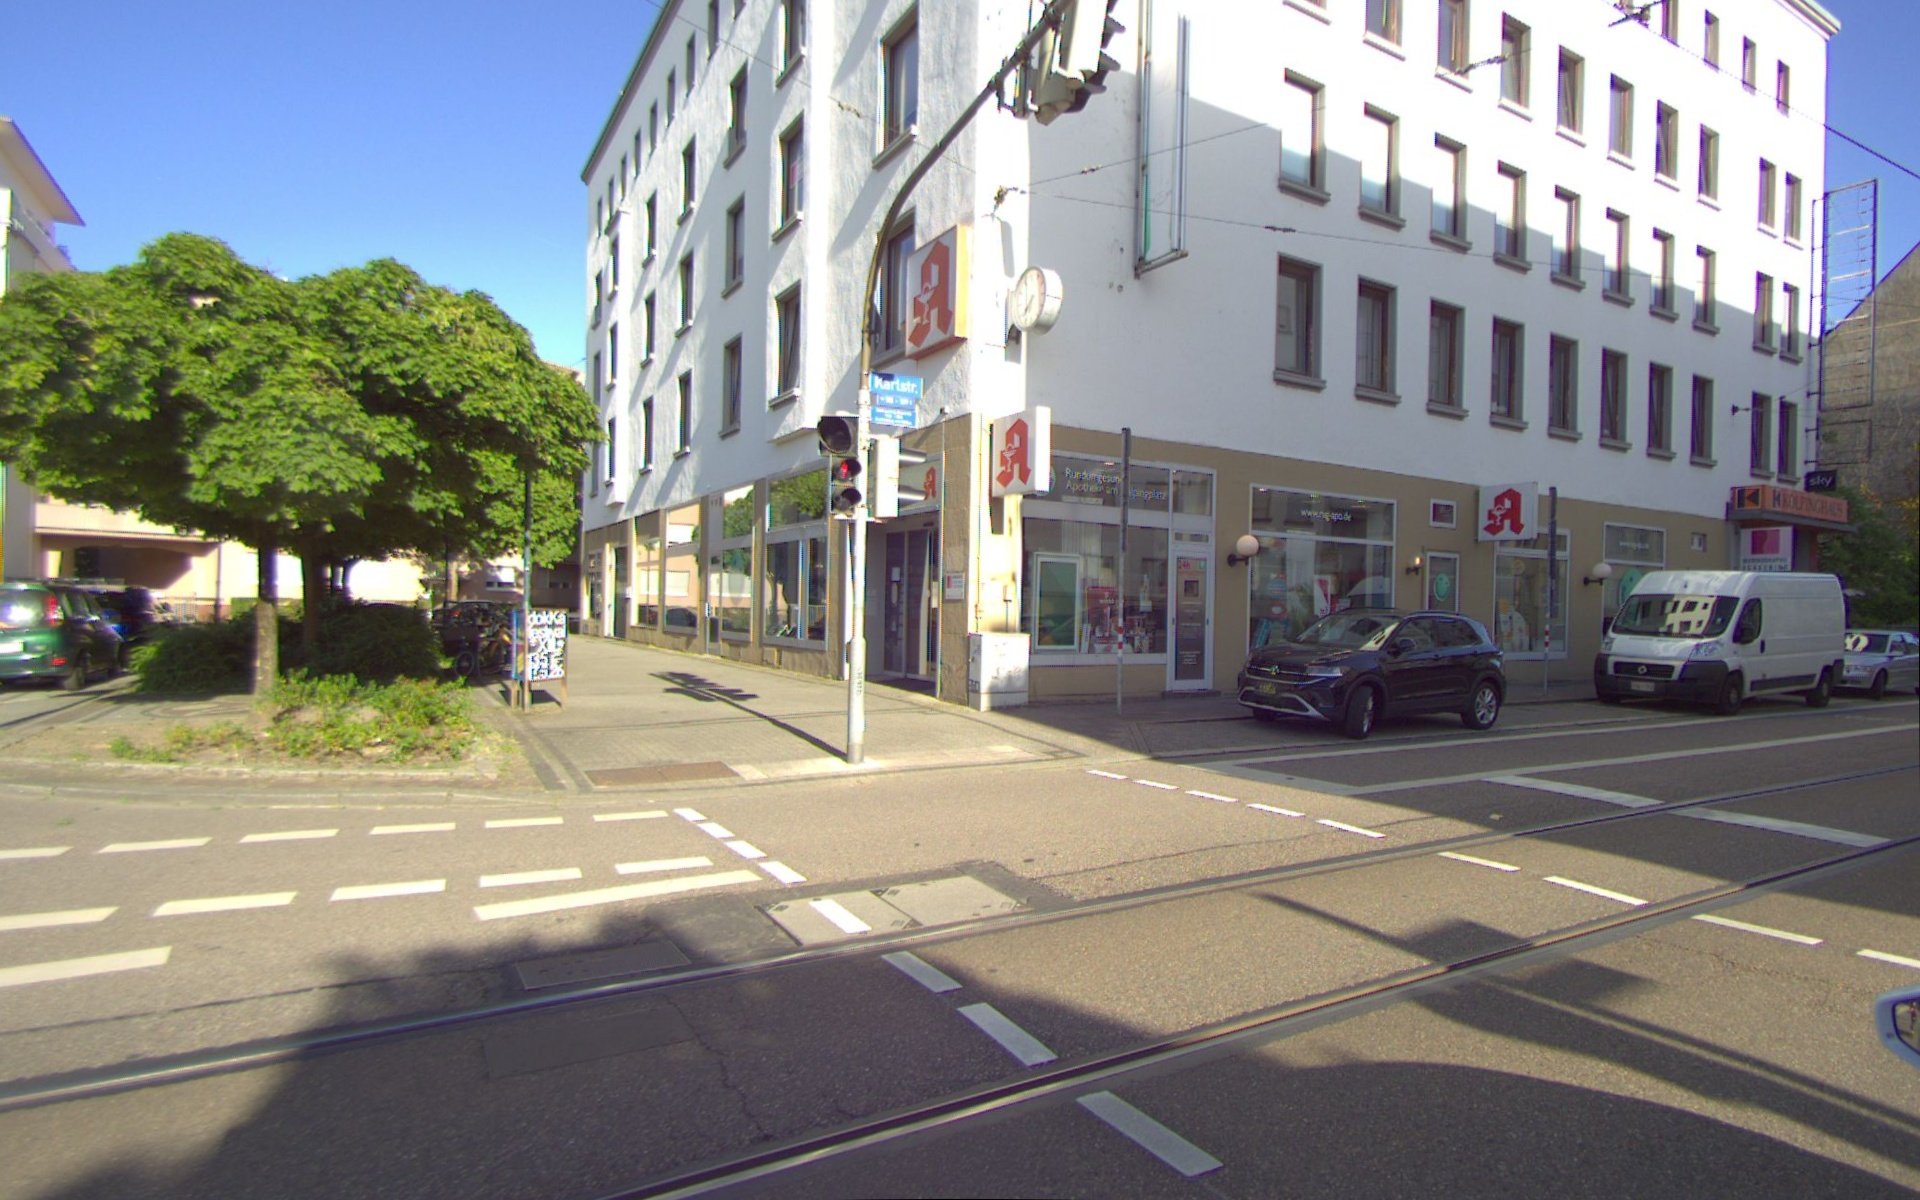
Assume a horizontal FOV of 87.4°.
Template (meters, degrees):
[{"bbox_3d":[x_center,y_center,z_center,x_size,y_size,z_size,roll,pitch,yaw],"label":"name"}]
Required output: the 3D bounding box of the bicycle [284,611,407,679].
[{"bbox_3d":[-11.177,0.788,18.248,2.390,1.140,0.628,1,0,23],"label":"bicycle"}]

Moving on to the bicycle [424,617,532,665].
[{"bbox_3d":[-11.352,0.963,23.706,2.207,1.063,0.622,2,0,-35],"label":"bicycle"}]

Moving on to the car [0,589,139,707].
[{"bbox_3d":[-14.945,0.703,16.450,1.657,1.733,3.960,1,-1,-30],"label":"car"}]

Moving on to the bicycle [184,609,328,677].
[{"bbox_3d":[-12.753,0.742,18.324,0.615,1.140,2.439,1,0,9],"label":"bicycle"}]

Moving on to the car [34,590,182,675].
[{"bbox_3d":[-18.011,0.640,21.421,1.738,1.638,3.959,1,-1,-31],"label":"car"}]

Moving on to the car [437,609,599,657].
[{"bbox_3d":[-12.215,0.896,27.807,3.954,1.247,1.724,1,-1,-31],"label":"car"}]

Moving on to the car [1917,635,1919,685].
[{"bbox_3d":[27.424,1.546,26.653,4.647,1.501,1.773,1,1,-32],"label":"car"}]

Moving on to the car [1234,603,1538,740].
[{"bbox_3d":[5.874,0.907,13.781,3.945,1.573,1.775,2,1,-30],"label":"car"}]

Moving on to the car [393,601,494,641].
[{"bbox_3d":[-21.966,0.877,42.924,1.756,1.606,4.372,1,-1,6],"label":"car"}]

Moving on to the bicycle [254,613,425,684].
[{"bbox_3d":[-10.431,0.807,16.987,2.409,1.140,0.623,2,0,-31],"label":"bicycle"}]

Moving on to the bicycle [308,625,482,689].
[{"bbox_3d":[-9.380,0.935,16.765,2.463,1.001,0.749,2,0,-30],"label":"bicycle"}]

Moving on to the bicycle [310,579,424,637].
[{"bbox_3d":[-12.307,0.173,20.950,0.615,1.140,2.439,1,0,9],"label":"bicycle"}]

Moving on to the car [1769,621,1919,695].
[{"bbox_3d":[20.123,1.258,22.357,4.392,1.417,1.775,2,1,-30],"label":"car"}]

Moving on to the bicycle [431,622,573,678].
[{"bbox_3d":[-8.697,0.950,19.137,2.409,1.001,0.623,2,0,-31],"label":"bicycle"}]

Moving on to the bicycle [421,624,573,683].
[{"bbox_3d":[-8.448,0.967,18.371,2.464,1.001,0.749,2,0,-31],"label":"bicycle"}]

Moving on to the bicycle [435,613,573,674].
[{"bbox_3d":[-8.986,0.857,19.837,2.409,1.140,0.623,2,0,-31],"label":"bicycle"}]

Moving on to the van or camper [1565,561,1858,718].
[{"bbox_3d":[14.006,0.661,18.591,6.162,2.500,2.160,1,1,-32],"label":"van or camper"}]

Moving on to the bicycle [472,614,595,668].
[{"bbox_3d":[-9.400,0.903,22.176,2.413,1.140,0.622,2,0,-35],"label":"bicycle"}]
